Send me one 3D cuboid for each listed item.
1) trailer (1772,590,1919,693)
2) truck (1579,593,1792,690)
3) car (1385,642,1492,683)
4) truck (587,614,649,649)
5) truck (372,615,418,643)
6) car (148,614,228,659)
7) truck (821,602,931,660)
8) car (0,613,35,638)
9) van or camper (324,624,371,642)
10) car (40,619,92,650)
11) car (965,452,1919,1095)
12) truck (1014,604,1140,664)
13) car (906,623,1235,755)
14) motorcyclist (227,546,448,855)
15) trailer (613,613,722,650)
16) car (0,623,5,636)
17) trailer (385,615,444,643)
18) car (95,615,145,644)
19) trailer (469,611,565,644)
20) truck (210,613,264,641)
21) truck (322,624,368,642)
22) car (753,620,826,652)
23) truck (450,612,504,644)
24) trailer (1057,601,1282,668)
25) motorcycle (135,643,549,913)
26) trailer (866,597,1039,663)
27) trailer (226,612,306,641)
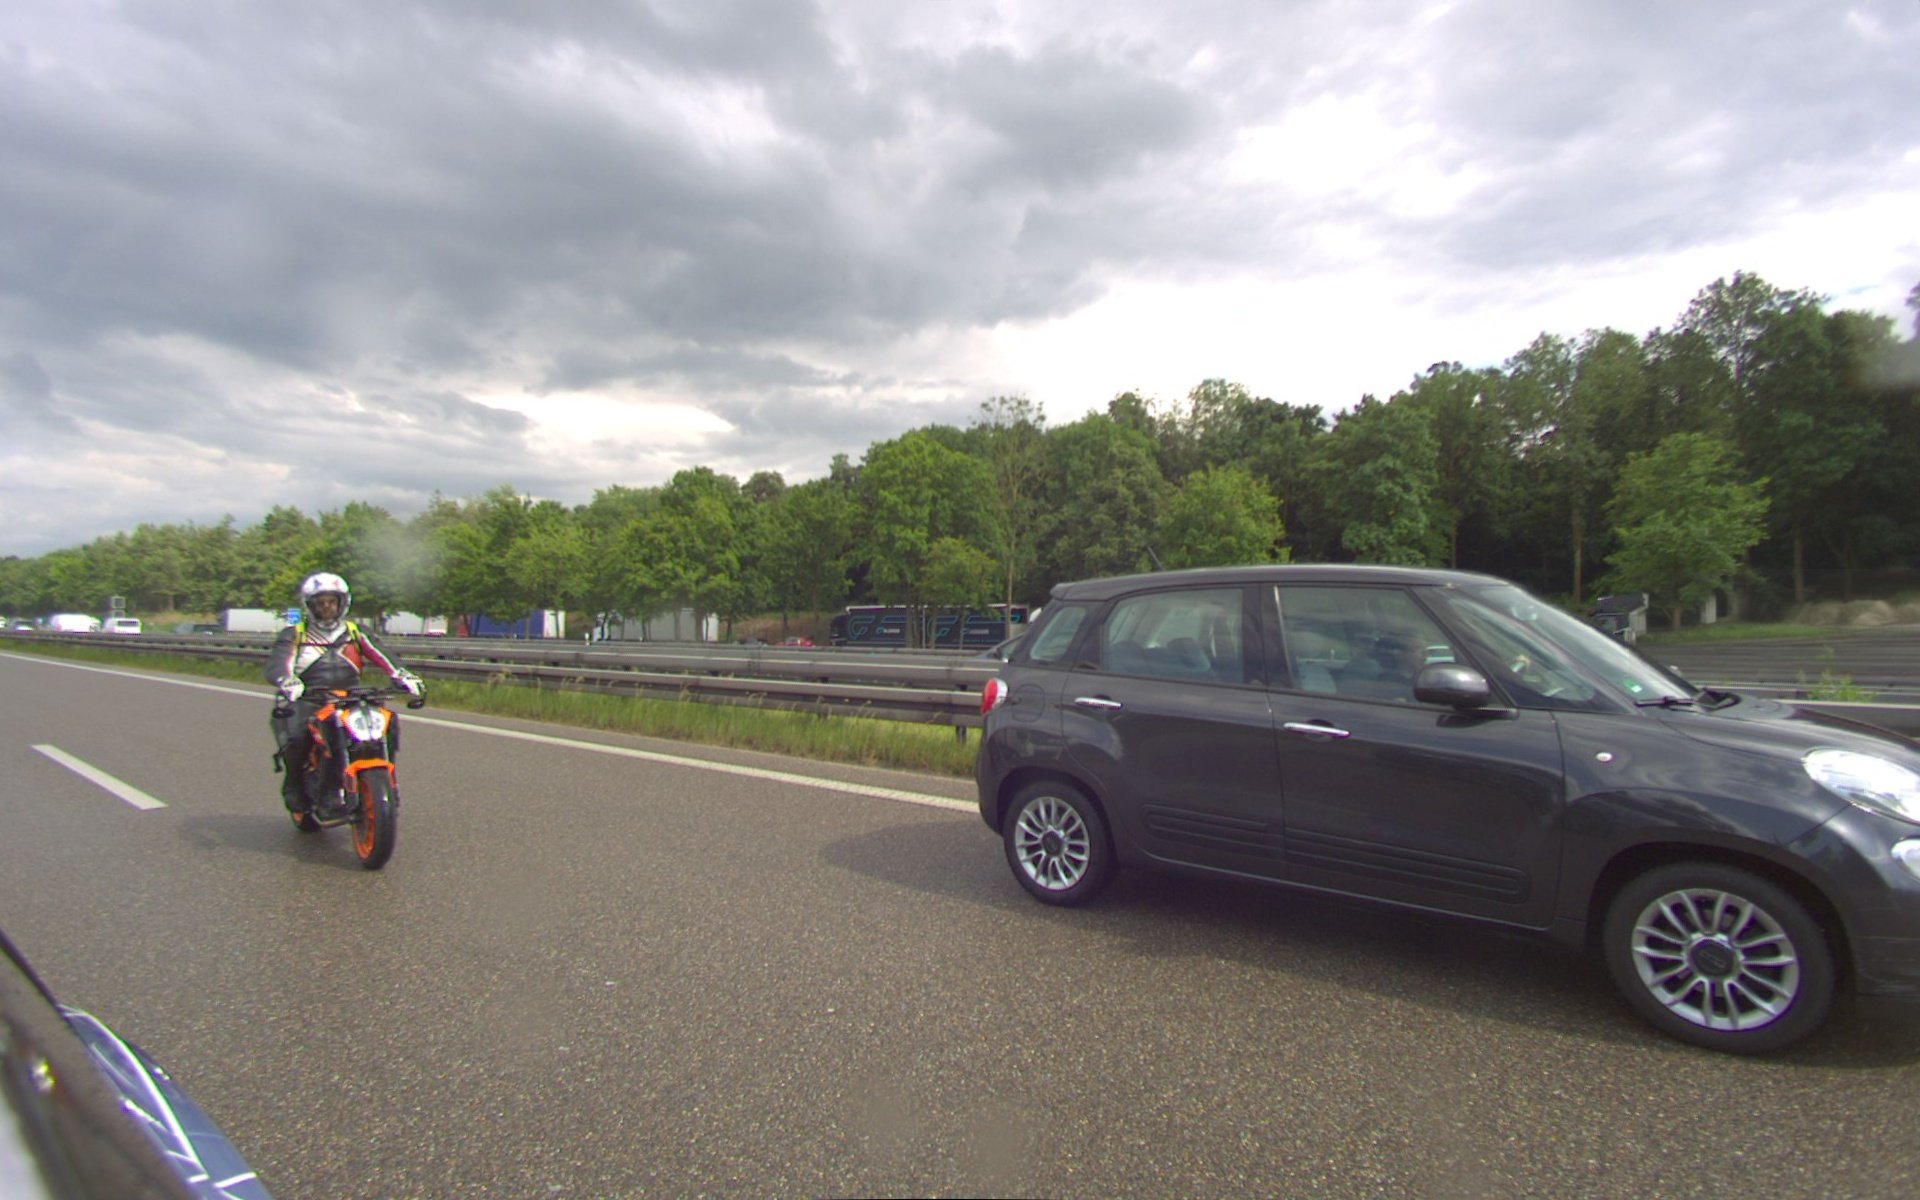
[{"bbox_3d":[36.184,1.474,36.291,3.743,3.677,10.510,1,-2,-42],"label":"trailer"},{"bbox_3d":[30.394,1.606,42.542,3.744,3.688,6.710,-1,0,-44],"label":"truck"},{"bbox_3d":[23.565,3.038,49.905,4.368,1.731,2.036,-1,0,43],"label":"car"},{"bbox_3d":[-33.904,3.040,100.346,5.498,3.298,3.322,-1,0,37],"label":"truck"},{"bbox_3d":[-68.211,3.511,122.175,5.066,3.292,2.636,-1,0,30],"label":"truck"},{"bbox_3d":[-37.491,1.723,49.098,5.205,2.061,2.030,-1,0,40],"label":"car"},{"bbox_3d":[-6.633,2.312,79.203,8.413,4.266,3.748,-1,0,41],"label":"truck"},{"bbox_3d":[-80.292,2.137,85.834,4.648,2.061,2.152,-1,0,40],"label":"car"},{"bbox_3d":[-77.311,4.145,127.654,6.292,2.282,2.105,-1,-1,28],"label":"van or camper"},{"bbox_3d":[-62.810,2.370,71.091,5.205,2.061,2.030,-1,0,40],"label":"car"},{"bbox_3d":[2.085,0.501,4.477,3.972,1.818,1.675,-1,0,40],"label":"car"},{"bbox_3d":[7.566,2.128,65.906,7.351,3.616,3.748,-1,0,41],"label":"truck"},{"bbox_3d":[1.685,1.313,16.797,5.205,1.789,2.030,-1,0,40],"label":"car"},{"bbox_3d":[-3.860,0.559,6.282,0.999,1.719,0.872,-1,0,38],"label":"motorcyclist"},{"bbox_3d":[-27.747,2.960,95.478,12.458,3.241,3.315,-1,-2,38],"label":"trailer"},{"bbox_3d":[-141.412,4.365,147.933,5.256,1.905,2.026,-1,0,40],"label":"car"},{"bbox_3d":[-64.908,3.453,120.303,7.712,3.257,2.560,-1,-2,31],"label":"trailer"},{"bbox_3d":[-64.343,2.226,77.487,4.648,2.061,2.152,-1,0,40],"label":"car"},{"bbox_3d":[-48.154,3.020,109.723,13.388,3.431,2.800,-1,-2,34],"label":"trailer"},{"bbox_3d":[-98.568,3.641,137.950,6.880,3.732,3.189,-1,0,26],"label":"truck"},{"bbox_3d":[-77.711,4.151,127.828,6.288,2.282,2.105,-1,-1,28],"label":"truck"},{"bbox_3d":[-14.409,2.994,85.370,6.207,2.501,2.764,-1,0,41],"label":"car"},{"bbox_3d":[-54.409,3.152,113.914,5.880,3.482,2.837,-1,0,33],"label":"truck"},{"bbox_3d":[12.413,2.042,61.579,13.340,3.677,3.749,-1,-2,42],"label":"trailer"},{"bbox_3d":[-4.032,0.940,6.435,3.189,1.235,1.174,-1,0,37],"label":"motorcycle"},{"bbox_3d":[-0.842,2.159,74.144,13.796,4.439,3.749,-1,-2,42],"label":"trailer"},{"bbox_3d":[-92.697,3.576,135.036,12.504,3.767,3.185,-1,-2,27],"label":"trailer"}]
